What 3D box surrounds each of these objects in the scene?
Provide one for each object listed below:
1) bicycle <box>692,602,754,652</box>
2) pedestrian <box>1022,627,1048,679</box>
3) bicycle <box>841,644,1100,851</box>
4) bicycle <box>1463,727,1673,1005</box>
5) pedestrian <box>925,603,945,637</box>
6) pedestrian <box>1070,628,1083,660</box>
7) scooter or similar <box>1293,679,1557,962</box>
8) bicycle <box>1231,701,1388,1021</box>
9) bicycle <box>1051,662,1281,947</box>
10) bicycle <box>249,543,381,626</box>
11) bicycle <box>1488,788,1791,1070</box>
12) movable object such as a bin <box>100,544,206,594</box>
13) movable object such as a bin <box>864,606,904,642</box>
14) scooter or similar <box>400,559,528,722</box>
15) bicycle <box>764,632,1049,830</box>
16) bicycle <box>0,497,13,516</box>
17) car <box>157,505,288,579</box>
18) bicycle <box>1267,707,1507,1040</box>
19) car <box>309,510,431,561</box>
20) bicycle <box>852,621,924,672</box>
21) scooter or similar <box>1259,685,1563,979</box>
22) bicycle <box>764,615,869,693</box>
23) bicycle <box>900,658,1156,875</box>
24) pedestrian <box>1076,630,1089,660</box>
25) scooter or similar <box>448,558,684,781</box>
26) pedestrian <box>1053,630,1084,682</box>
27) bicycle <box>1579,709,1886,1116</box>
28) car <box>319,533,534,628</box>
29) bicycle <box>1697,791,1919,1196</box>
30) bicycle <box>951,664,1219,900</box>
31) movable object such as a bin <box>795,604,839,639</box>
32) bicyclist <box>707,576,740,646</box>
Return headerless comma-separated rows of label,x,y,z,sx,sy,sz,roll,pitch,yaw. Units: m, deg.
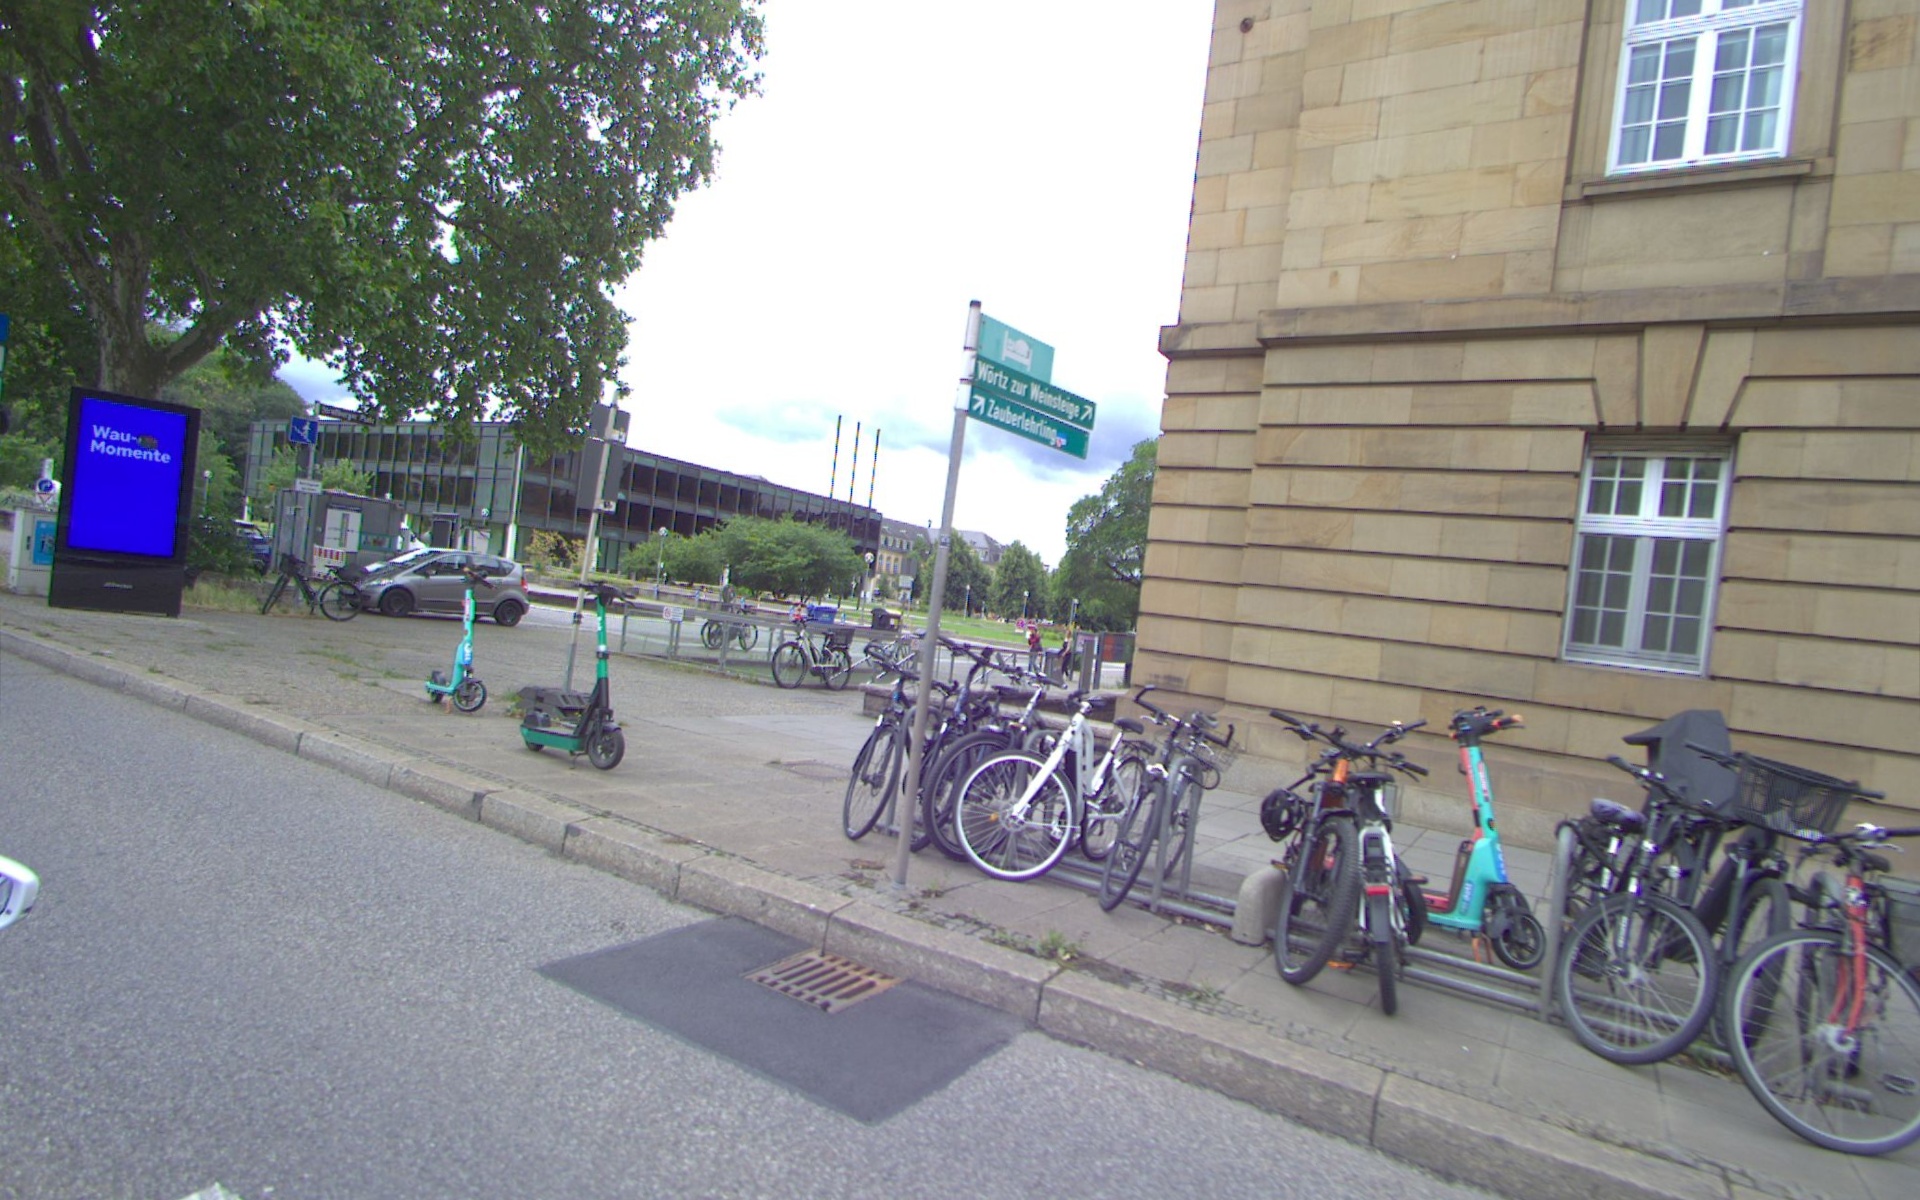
bicycle,-6.038,0.711,25.736,0.435,1.145,1.754,7,-1,25
pedestrian,2.610,1.840,35.009,0.560,1.715,0.430,7,0,31
bicycle,0.127,0.925,6.296,0.420,1.104,1.725,7,-2,45
bicycle,2.889,1.169,4.707,0.430,1.039,1.561,7,-2,43
pedestrian,-1.586,1.236,62.924,0.799,2.036,0.625,9,-2,-38
pedestrian,6.900,2.623,59.746,0.537,1.826,0.500,7,-2,6
scooter or similar,2.612,1.177,5.686,1.131,1.293,0.562,7,-1,39
bicycle,1.584,1.099,4.746,0.400,1.143,1.617,7,-2,13
bicycle,1.194,1.024,5.479,0.594,1.223,1.762,7,-2,29
bicycle,-11.260,-0.255,17.626,0.484,1.235,1.786,7,-1,35
bicycle,3.136,1.384,4.571,1.721,0.928,0.607,8,-1,-39
movable object such as a bin,-14.254,-0.537,17.785,0.719,0.659,1.299,5,-4,41
movable object such as a bin,-3.604,1.136,47.651,1.135,1.515,1.409,7,0,35
scooter or similar,-4.439,0.335,8.966,1.415,1.295,0.430,6,-2,44
bicycle,-0.300,0.892,6.787,0.657,1.104,1.854,6,-2,45
bicycle,-58.079,-5.707,60.490,2.742,0.986,0.956,6,-3,33
car,-21.752,-1.714,29.624,3.961,1.571,1.762,9,1,34
bicycle,1.903,1.141,4.714,0.461,1.143,1.616,7,-2,7
car,-37.409,-4.047,63.931,2.363,2.287,6.113,7,-1,34
bicycle,-1.835,1.230,25.968,0.420,1.113,2.166,6,-2,38
scooter or similar,2.355,1.156,5.345,1.295,1.238,0.425,5,-2,43
bicycle,-2.288,0.909,16.337,0.382,1.139,2.014,6,-1,32
bicycle,0.470,0.986,6.023,0.376,1.104,1.725,7,-2,45
pedestrian,7.206,2.646,59.032,0.537,1.682,0.500,7,-2,6
scooter or similar,-2.793,0.466,7.118,1.390,1.347,0.727,6,-2,32
pedestrian,3.822,1.974,35.495,0.693,1.743,0.680,7,0,31
bicycle,3.124,1.153,4.013,1.536,1.271,0.537,9,-2,-39
car,-11.862,-0.386,22.590,1.652,1.587,3.841,7,-1,32
bicycle,3.371,1.303,3.694,1.655,1.087,0.579,8,-1,-39
bicycle,0.785,1.011,5.807,0.566,1.104,1.727,7,-2,41
movable object such as a bin,-6.239,0.931,43.837,1.135,1.319,1.409,7,-1,35
bicyclist,-6.159,0.295,26.164,0.466,1.769,0.437,7,0,25
